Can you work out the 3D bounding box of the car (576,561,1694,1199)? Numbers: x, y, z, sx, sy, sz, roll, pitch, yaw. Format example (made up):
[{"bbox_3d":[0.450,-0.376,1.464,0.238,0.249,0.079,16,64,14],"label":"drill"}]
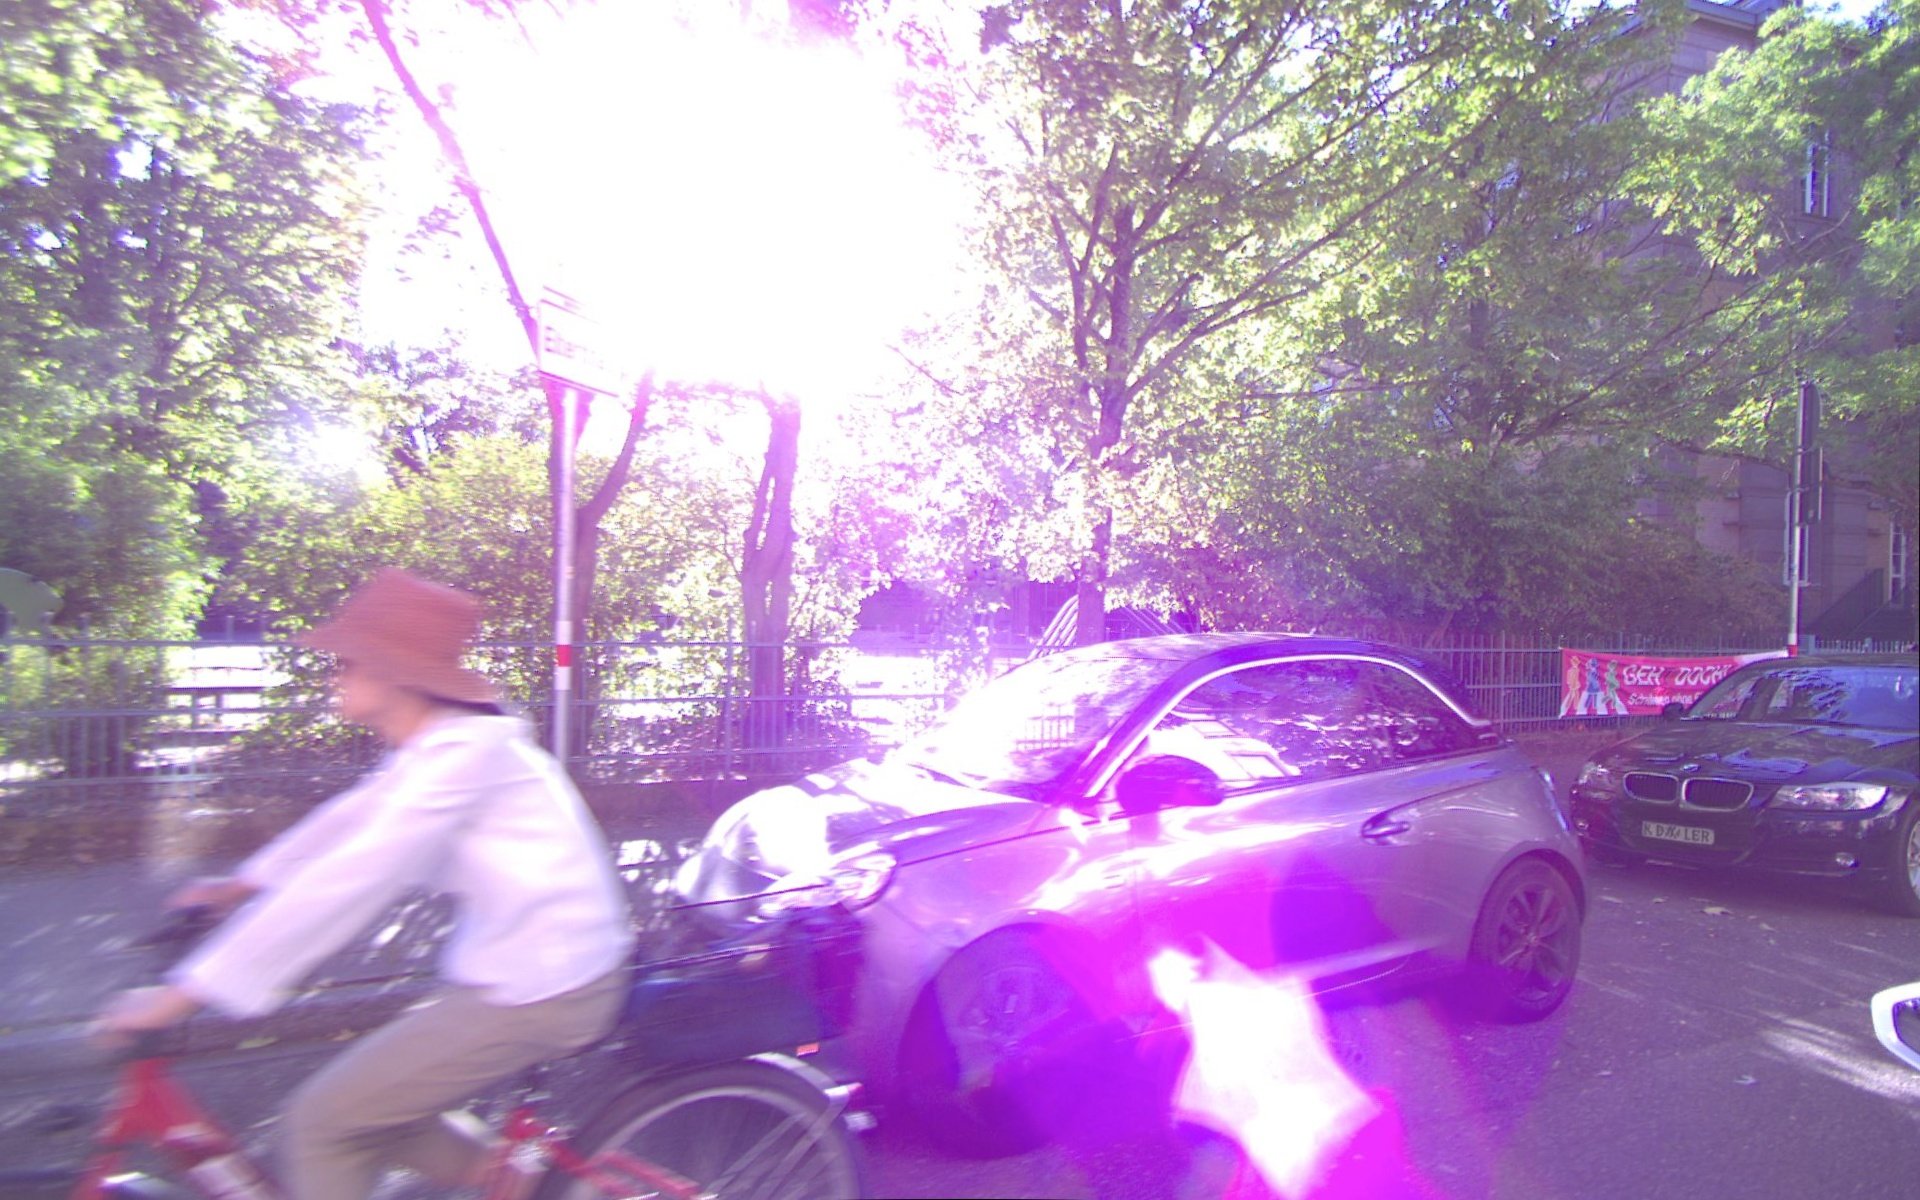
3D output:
[{"bbox_3d":[0.742,0.794,3.944,4.095,1.593,1.672,1,-4,-25],"label":"car"}]

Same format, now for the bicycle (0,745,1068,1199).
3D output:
[{"bbox_3d":[-0.715,0.865,1.691,1.662,1.091,0.663,1,0,-24],"label":"bicycle"}]

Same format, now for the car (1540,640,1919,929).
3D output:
[{"bbox_3d":[6.257,1.025,6.815,4.718,1.413,1.708,2,-5,-27],"label":"car"}]

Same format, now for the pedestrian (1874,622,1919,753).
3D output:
[{"bbox_3d":[12.042,1.083,12.474,0.522,1.598,0.878,1,0,-25],"label":"pedestrian"}]

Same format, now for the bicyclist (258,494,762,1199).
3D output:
[{"bbox_3d":[-0.723,0.635,1.683,0.616,1.529,0.650,1,0,-24],"label":"bicyclist"}]
